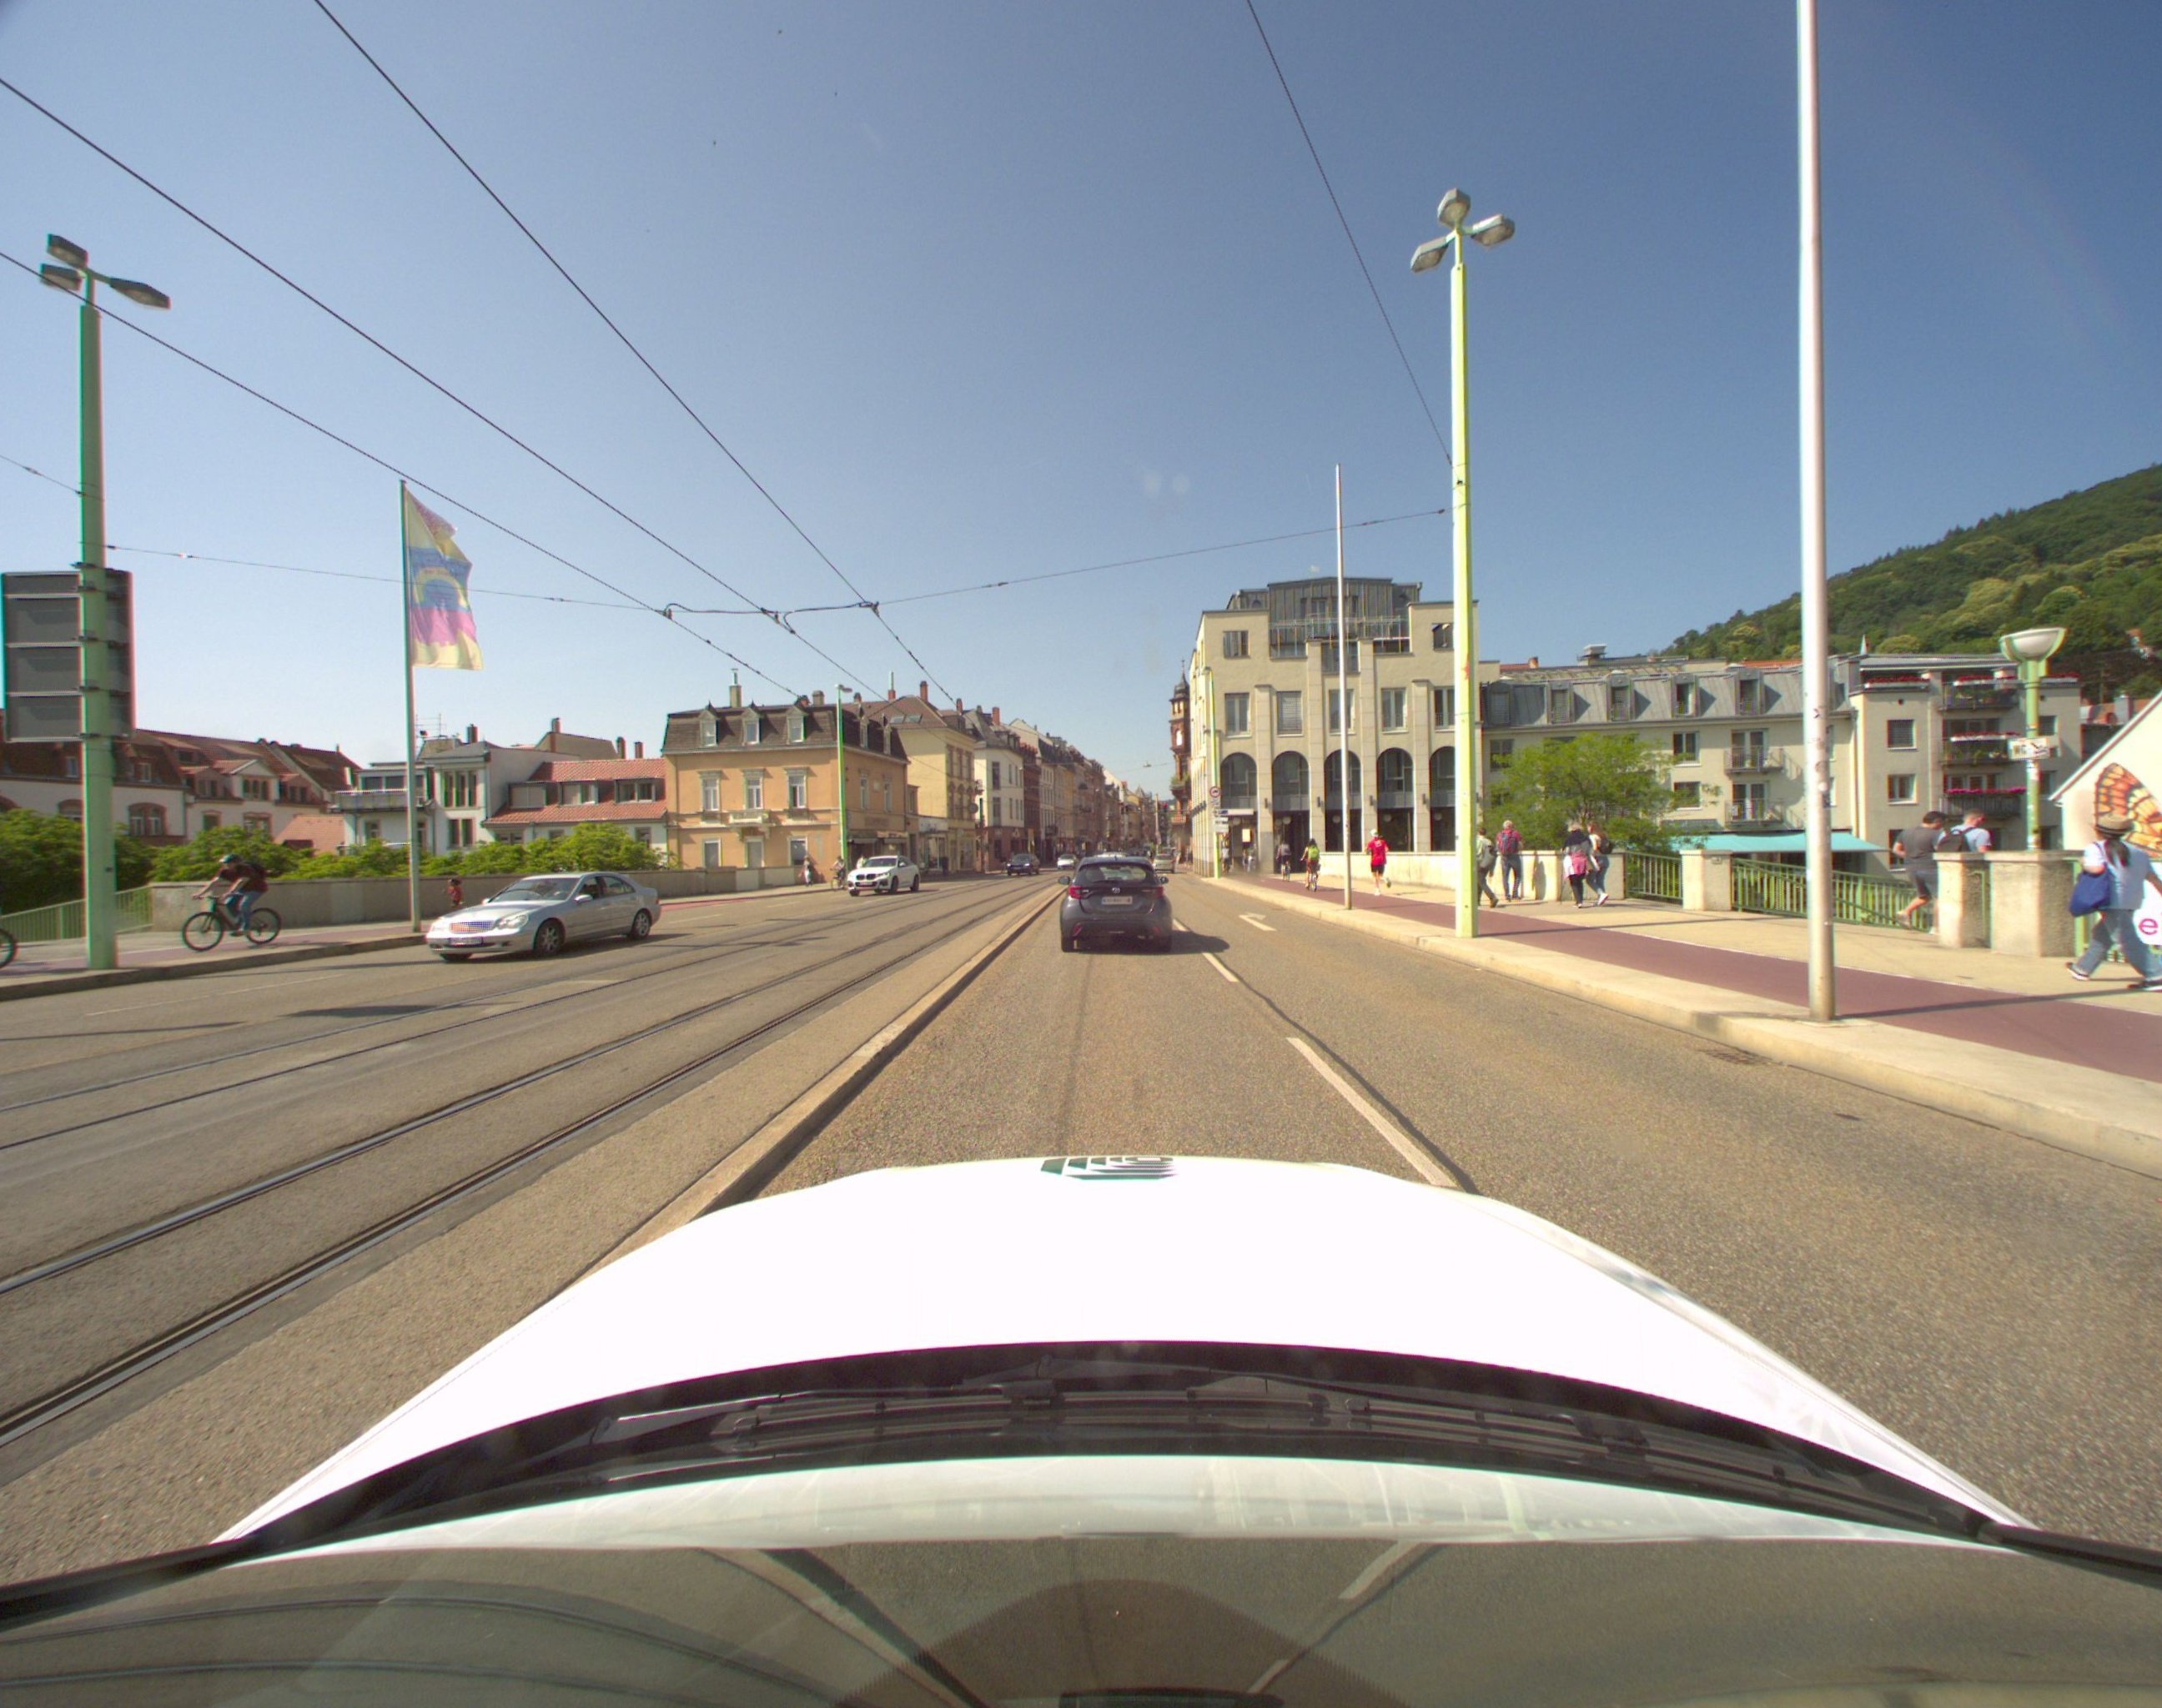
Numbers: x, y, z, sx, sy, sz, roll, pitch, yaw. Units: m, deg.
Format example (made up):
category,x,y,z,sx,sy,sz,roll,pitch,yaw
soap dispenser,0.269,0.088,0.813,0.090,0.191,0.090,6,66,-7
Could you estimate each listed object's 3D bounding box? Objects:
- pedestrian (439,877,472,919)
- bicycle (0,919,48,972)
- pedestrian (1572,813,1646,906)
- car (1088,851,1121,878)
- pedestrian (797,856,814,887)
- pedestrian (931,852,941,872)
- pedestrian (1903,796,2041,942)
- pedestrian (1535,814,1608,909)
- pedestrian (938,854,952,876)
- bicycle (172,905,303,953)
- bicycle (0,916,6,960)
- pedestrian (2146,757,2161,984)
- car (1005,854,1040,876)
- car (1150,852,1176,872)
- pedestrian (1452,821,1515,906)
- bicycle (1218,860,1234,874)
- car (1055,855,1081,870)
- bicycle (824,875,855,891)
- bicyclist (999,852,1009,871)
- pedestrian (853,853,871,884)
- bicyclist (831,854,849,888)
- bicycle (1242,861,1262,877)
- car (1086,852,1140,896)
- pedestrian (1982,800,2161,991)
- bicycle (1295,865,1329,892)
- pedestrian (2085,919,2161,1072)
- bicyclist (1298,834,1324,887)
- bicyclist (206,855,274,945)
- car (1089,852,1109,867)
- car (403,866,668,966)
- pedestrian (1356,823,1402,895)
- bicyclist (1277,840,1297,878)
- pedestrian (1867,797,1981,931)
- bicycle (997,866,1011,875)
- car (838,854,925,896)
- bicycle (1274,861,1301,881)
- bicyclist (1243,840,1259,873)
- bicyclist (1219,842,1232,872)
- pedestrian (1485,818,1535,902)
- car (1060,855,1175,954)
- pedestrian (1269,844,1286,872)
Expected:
category,x,y,z,sx,sy,sz,roll,pitch,yaw
pedestrian,-17.658,1.229,23.002,0.409,1.146,0.546,3,0,15
bicycle,-16.273,1.382,11.682,0.618,0.716,1.772,0,1,2
pedestrian,10.464,0.099,16.172,0.736,1.746,1.016,-3,0,2
car,1.382,0.605,48.452,1.890,1.530,4.001,0,0,1
pedestrian,-14.761,0.913,43.613,0.646,1.602,0.566,3,2,2
pedestrian,-11.590,0.645,65.104,0.646,1.602,0.566,3,2,2
pedestrian,11.109,0.175,10.176,1.014,1.718,0.738,-2,0,-14
pedestrian,9.678,0.138,16.112,0.737,1.777,1.015,-3,0,0
pedestrian,-10.262,0.829,61.587,0.757,1.654,0.713,3,0,9
bicycle,-15.812,1.395,15.336,0.618,0.716,1.732,0,1,2
bicycle,-18.268,1.411,12.628,0.618,0.716,1.934,0,1,0
pedestrian,9.458,0.125,6.287,0.922,1.897,1.137,-2,0,1
car,-4.332,0.818,60.982,1.783,1.545,3.930,-2,0,9
car,6.364,0.601,63.266,1.699,1.466,4.327,0,0,1
pedestrian,8.505,0.195,17.251,0.752,1.718,1.073,-3,0,1
bicycle,8.766,0.783,49.344,0.592,0.765,1.866,-2,0,-1
car,-1.313,0.853,81.844,1.982,1.432,4.010,0,0,8
bicycle,-12.024,1.448,40.649,0.616,0.716,2.051,0,1,11
bicyclist,-6.793,0.695,71.672,0.701,1.650,0.623,0,1,10
pedestrian,-12.727,0.831,47.357,0.733,1.766,0.787,3,0,2
bicyclist,-12.023,0.842,40.637,0.623,1.650,0.623,0,1,10
bicycle,8.678,0.734,41.378,0.592,0.765,1.866,-2,0,-1
car,1.173,0.707,30.333,1.890,1.530,4.001,0,0,1
pedestrian,8.791,0.327,7.072,0.826,1.530,0.933,-3,0,1
bicycle,7.315,0.752,25.838,0.591,0.765,1.867,-2,0,2
pedestrian,13.935,1.781,10.300,1.200,1.777,0.980,-3,0,-2
bicyclist,7.294,0.203,25.846,0.602,1.650,0.702,-2,0,2
bicyclist,-15.823,0.849,15.338,0.625,1.650,0.622,0,1,2
car,2.300,0.703,103.036,1.982,1.772,4.010,-1,0,8
car,-9.633,0.998,14.902,1.724,1.460,4.376,-1,0,3
pedestrian,8.235,0.131,22.533,0.808,1.924,1.128,-2,0,1
bicyclist,8.502,0.201,33.668,0.585,1.559,0.702,-2,0,-1
pedestrian,11.488,0.126,11.106,1.018,1.718,0.735,-3,0,-26
bicycle,-6.787,1.405,71.702,0.616,0.716,2.051,0,1,11
car,-8.358,0.831,34.595,1.983,1.586,4.661,-2,0,7
bicycle,8.524,0.697,33.695,0.592,0.765,1.830,-2,0,-1
bicyclist,8.649,0.144,41.383,0.585,1.650,0.702,-2,0,-1
bicyclist,8.741,0.180,49.316,0.585,1.820,0.702,-2,0,-1
pedestrian,9.574,0.118,18.158,0.732,1.802,1.022,-3,0,37
car,0.591,0.752,14.007,1.713,1.473,3.659,0,0,1
pedestrian,11.712,0.241,48.582,0.736,1.615,1.016,3,0,1
